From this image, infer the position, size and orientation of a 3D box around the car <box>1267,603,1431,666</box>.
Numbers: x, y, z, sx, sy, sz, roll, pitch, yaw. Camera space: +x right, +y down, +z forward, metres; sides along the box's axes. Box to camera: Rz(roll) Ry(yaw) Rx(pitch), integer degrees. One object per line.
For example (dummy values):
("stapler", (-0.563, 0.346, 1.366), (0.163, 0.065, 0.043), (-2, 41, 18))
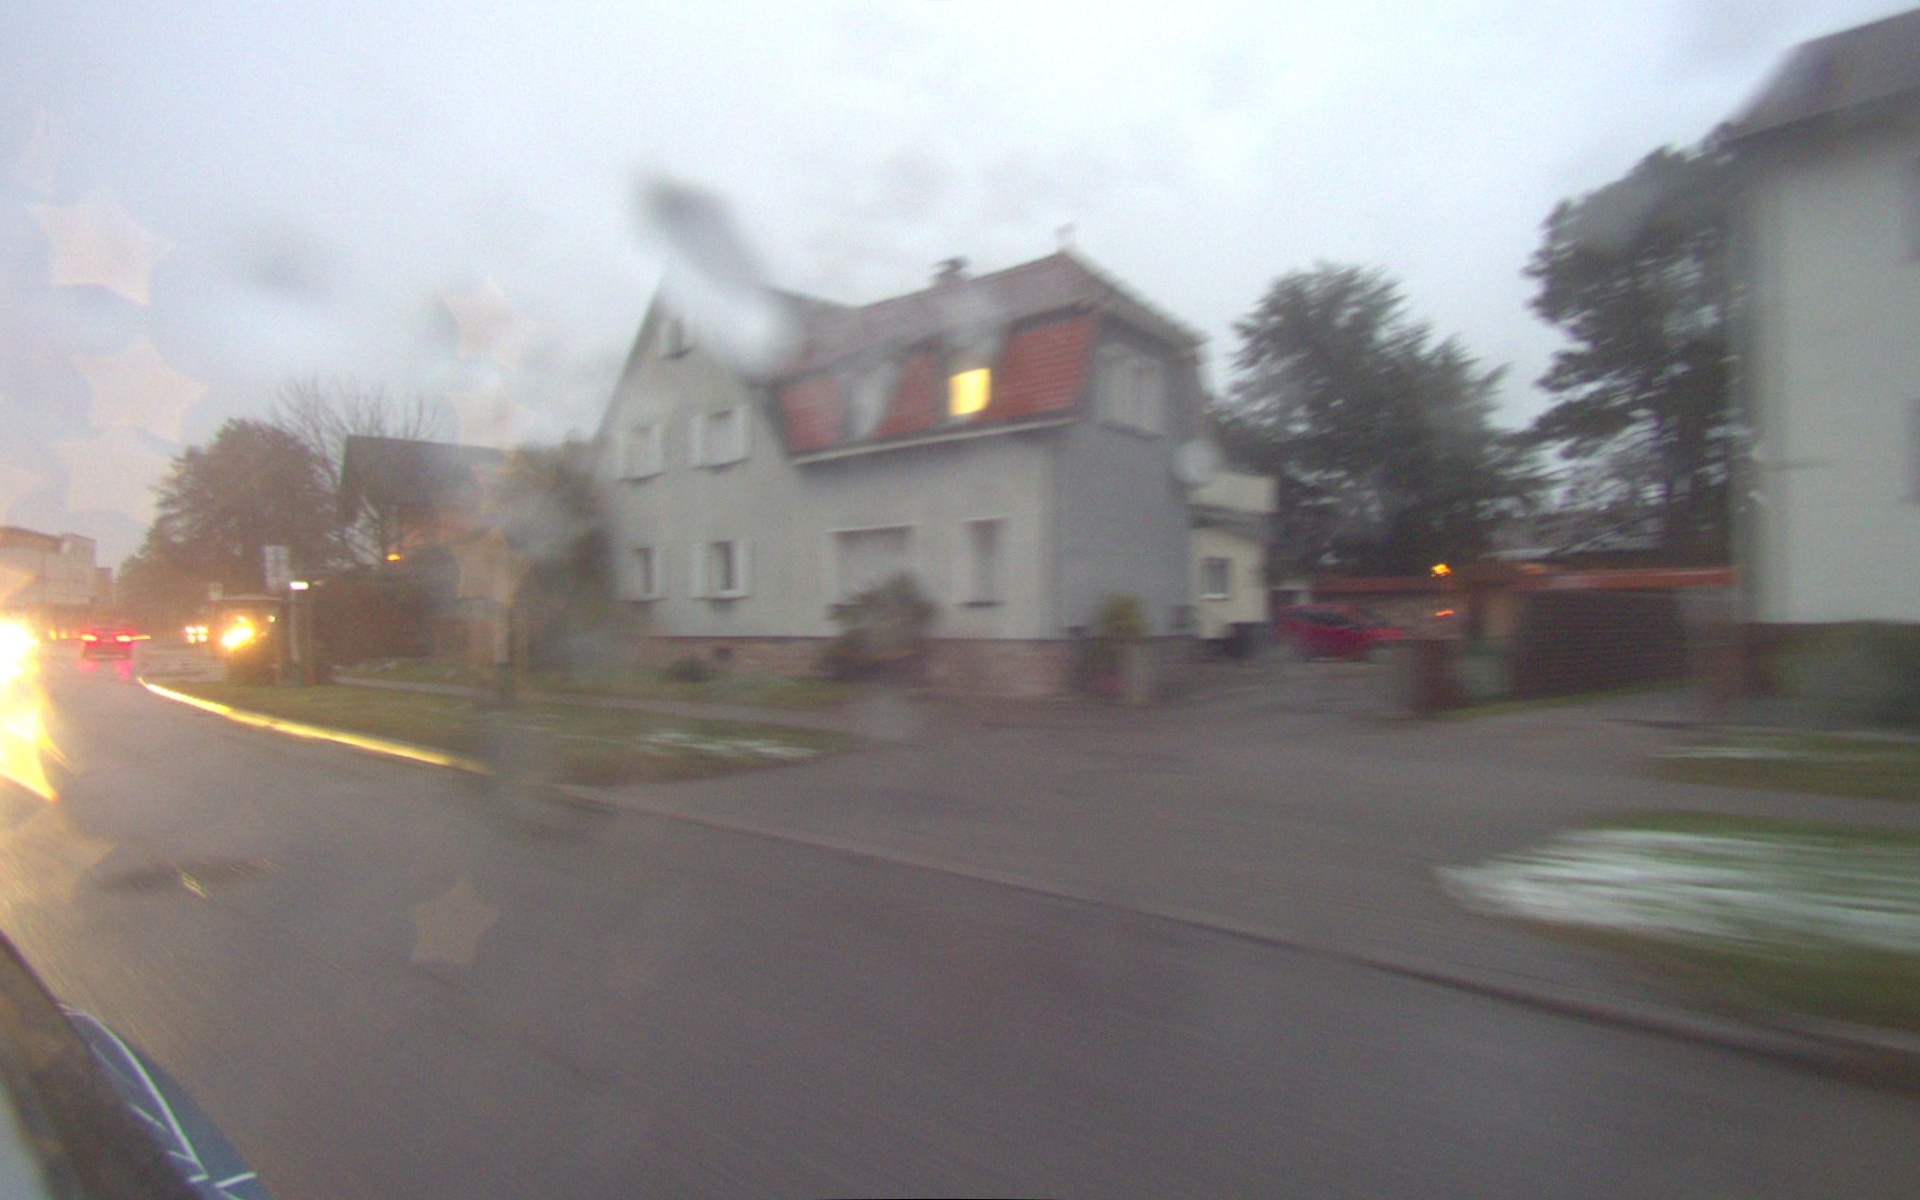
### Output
("car", (10.483, 0.922, 27.372), (3.671, 1.587, 1.973), (-2, -2, 41))

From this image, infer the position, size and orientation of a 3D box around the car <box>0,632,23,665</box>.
("car", (-51.234, 2.584, 53.771), (1.748, 1.630, 3.880), (-1, 0, -38))

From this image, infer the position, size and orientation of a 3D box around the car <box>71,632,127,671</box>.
("car", (-40.953, 2.409, 48.166), (1.938, 1.711, 4.007), (-1, 0, -40))
